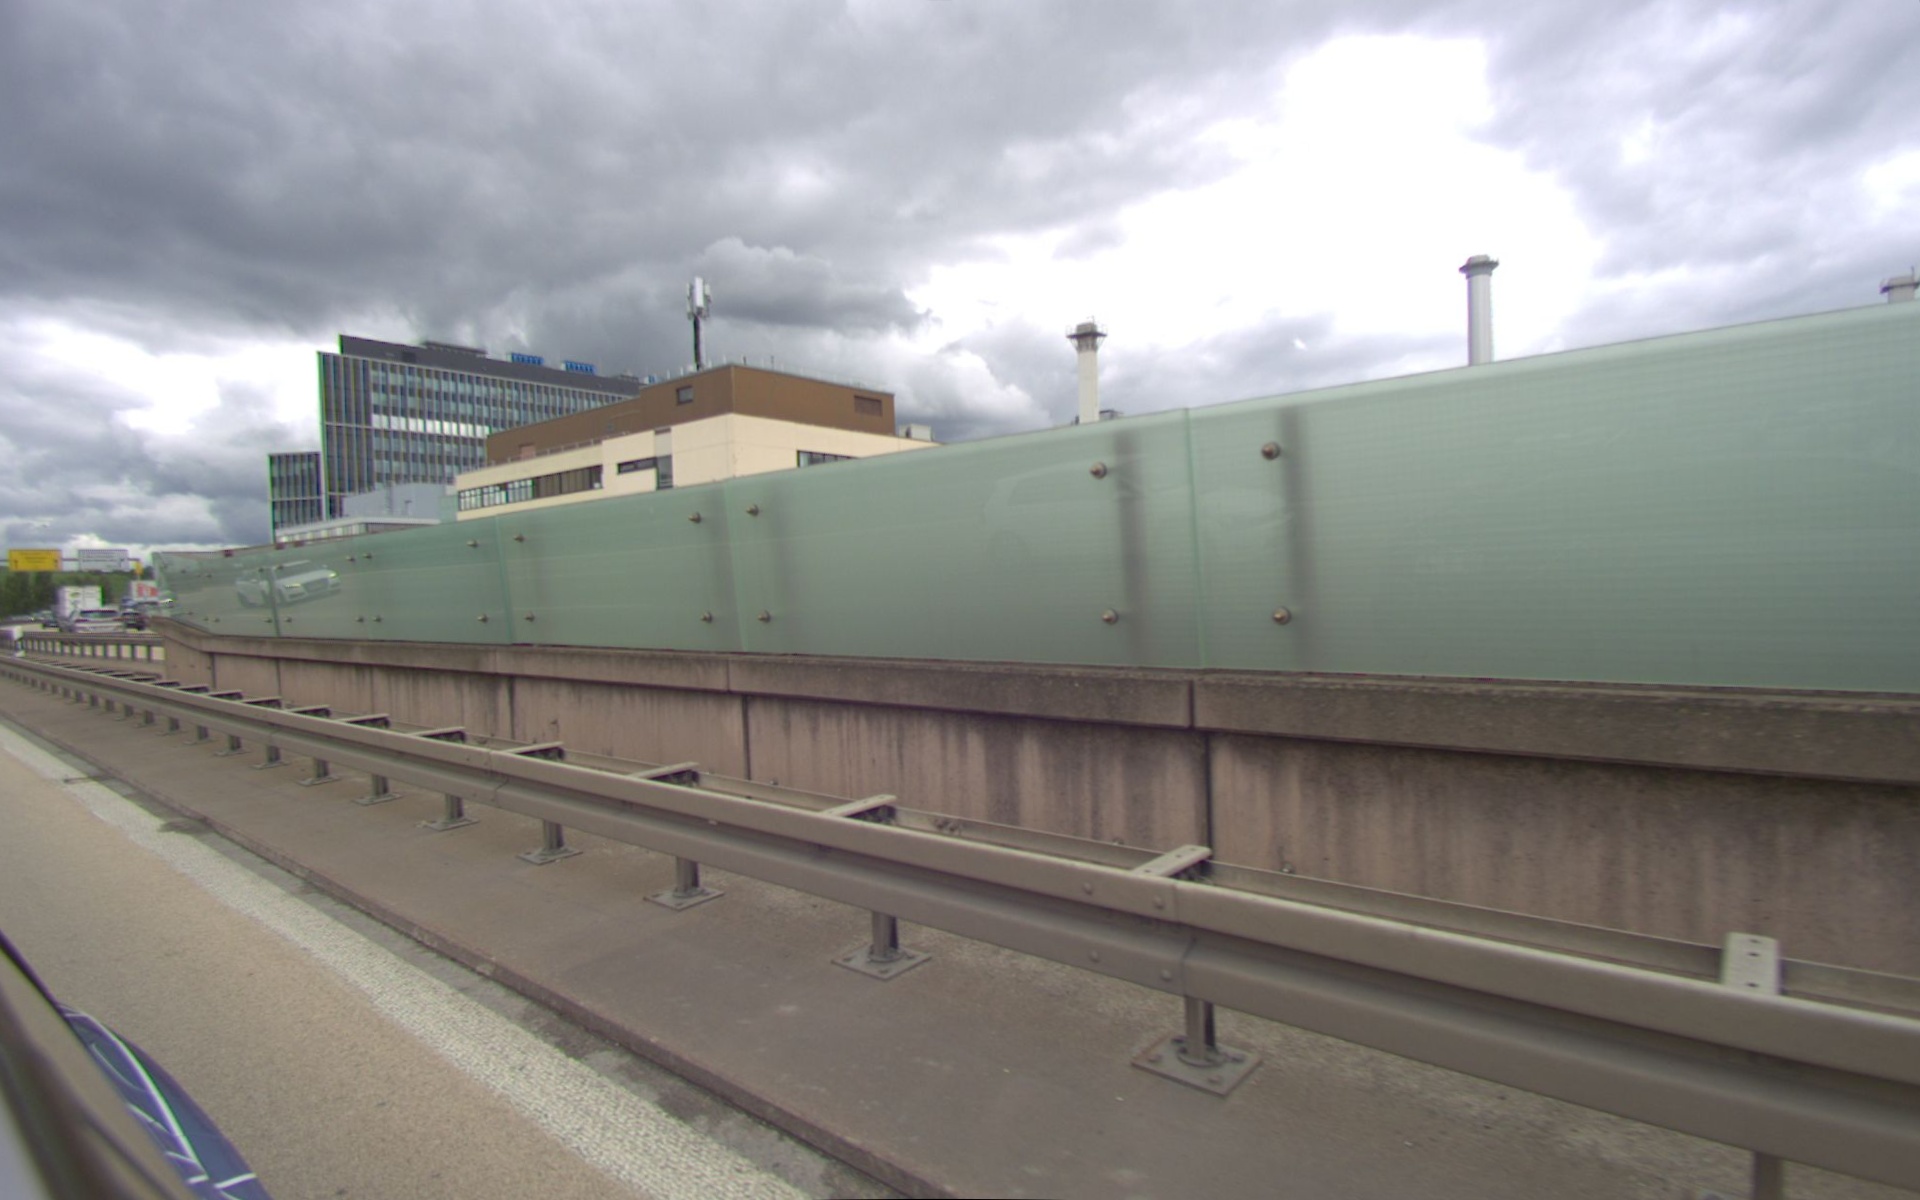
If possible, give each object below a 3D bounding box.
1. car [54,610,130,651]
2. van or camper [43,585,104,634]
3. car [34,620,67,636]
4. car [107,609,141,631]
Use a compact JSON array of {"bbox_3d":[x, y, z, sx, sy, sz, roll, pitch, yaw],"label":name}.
[{"bbox_3d":[-37.697,1.319,43.910,4.404,1.685,1.826,-2,0,40],"label":"car"},{"bbox_3d":[-64.233,0.694,73.277,6.950,3.413,2.380,-1,0,41],"label":"van or camper"},{"bbox_3d":[-97.469,2.982,108.436,4.810,1.623,2.002,-1,0,40],"label":"car"},{"bbox_3d":[-68.873,1.658,83.372,4.371,1.761,1.735,-2,-1,45],"label":"car"}]
